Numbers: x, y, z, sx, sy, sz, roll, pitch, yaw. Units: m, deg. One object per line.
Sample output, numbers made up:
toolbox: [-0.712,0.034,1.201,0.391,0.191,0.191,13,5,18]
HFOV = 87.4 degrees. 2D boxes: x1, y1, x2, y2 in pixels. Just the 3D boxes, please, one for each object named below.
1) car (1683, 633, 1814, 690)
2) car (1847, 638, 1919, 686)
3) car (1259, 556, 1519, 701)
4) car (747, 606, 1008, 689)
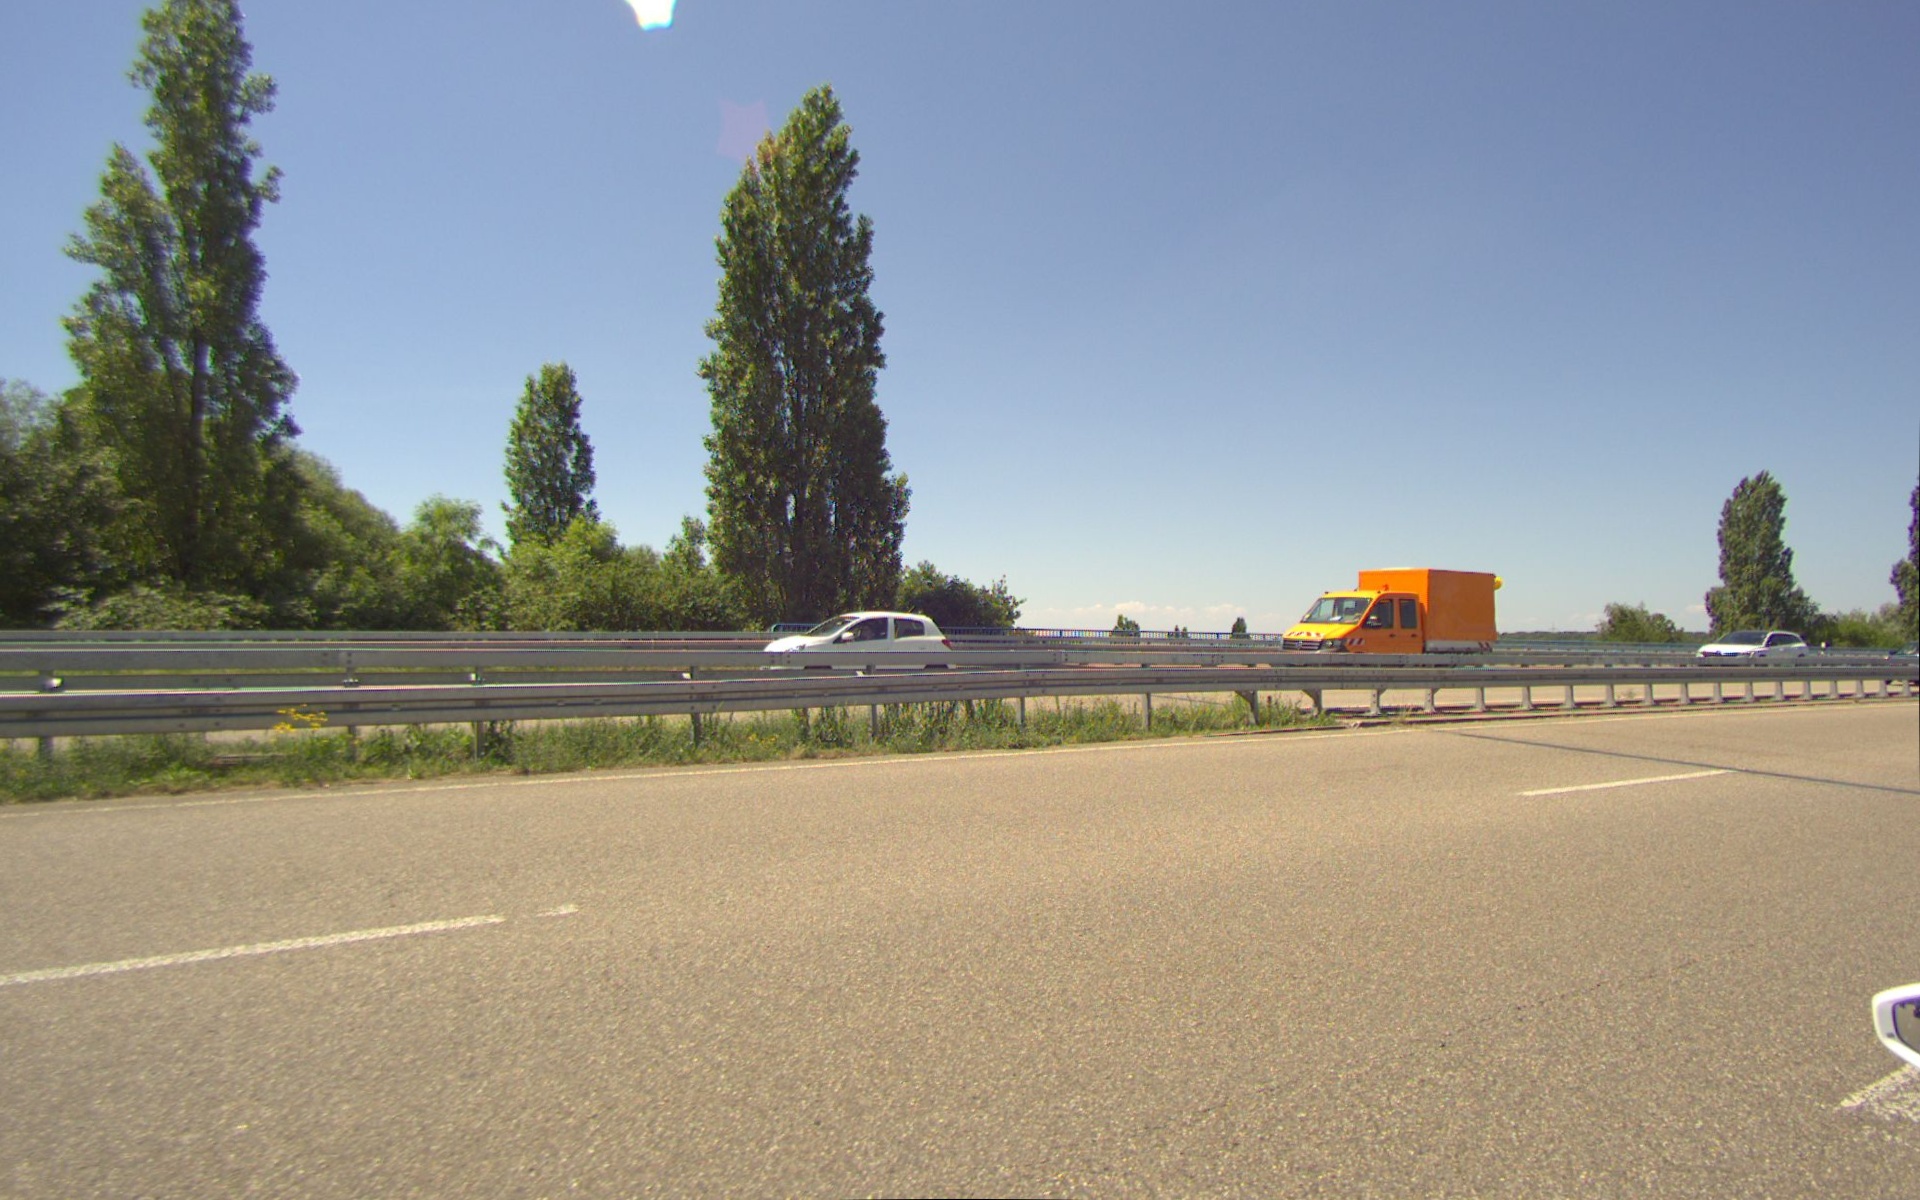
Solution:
car: [27.851,2.178,35.454,4.734,1.842,1.846,3,-2,-27]
car: [30.270,1.995,32.058,3.900,1.447,1.718,3,-2,-29]
car: [11.091,0.793,25.793,6.940,3.335,2.296,2,-2,-28]
car: [-1.559,0.916,19.536,4.737,1.451,1.845,2,-2,-29]
